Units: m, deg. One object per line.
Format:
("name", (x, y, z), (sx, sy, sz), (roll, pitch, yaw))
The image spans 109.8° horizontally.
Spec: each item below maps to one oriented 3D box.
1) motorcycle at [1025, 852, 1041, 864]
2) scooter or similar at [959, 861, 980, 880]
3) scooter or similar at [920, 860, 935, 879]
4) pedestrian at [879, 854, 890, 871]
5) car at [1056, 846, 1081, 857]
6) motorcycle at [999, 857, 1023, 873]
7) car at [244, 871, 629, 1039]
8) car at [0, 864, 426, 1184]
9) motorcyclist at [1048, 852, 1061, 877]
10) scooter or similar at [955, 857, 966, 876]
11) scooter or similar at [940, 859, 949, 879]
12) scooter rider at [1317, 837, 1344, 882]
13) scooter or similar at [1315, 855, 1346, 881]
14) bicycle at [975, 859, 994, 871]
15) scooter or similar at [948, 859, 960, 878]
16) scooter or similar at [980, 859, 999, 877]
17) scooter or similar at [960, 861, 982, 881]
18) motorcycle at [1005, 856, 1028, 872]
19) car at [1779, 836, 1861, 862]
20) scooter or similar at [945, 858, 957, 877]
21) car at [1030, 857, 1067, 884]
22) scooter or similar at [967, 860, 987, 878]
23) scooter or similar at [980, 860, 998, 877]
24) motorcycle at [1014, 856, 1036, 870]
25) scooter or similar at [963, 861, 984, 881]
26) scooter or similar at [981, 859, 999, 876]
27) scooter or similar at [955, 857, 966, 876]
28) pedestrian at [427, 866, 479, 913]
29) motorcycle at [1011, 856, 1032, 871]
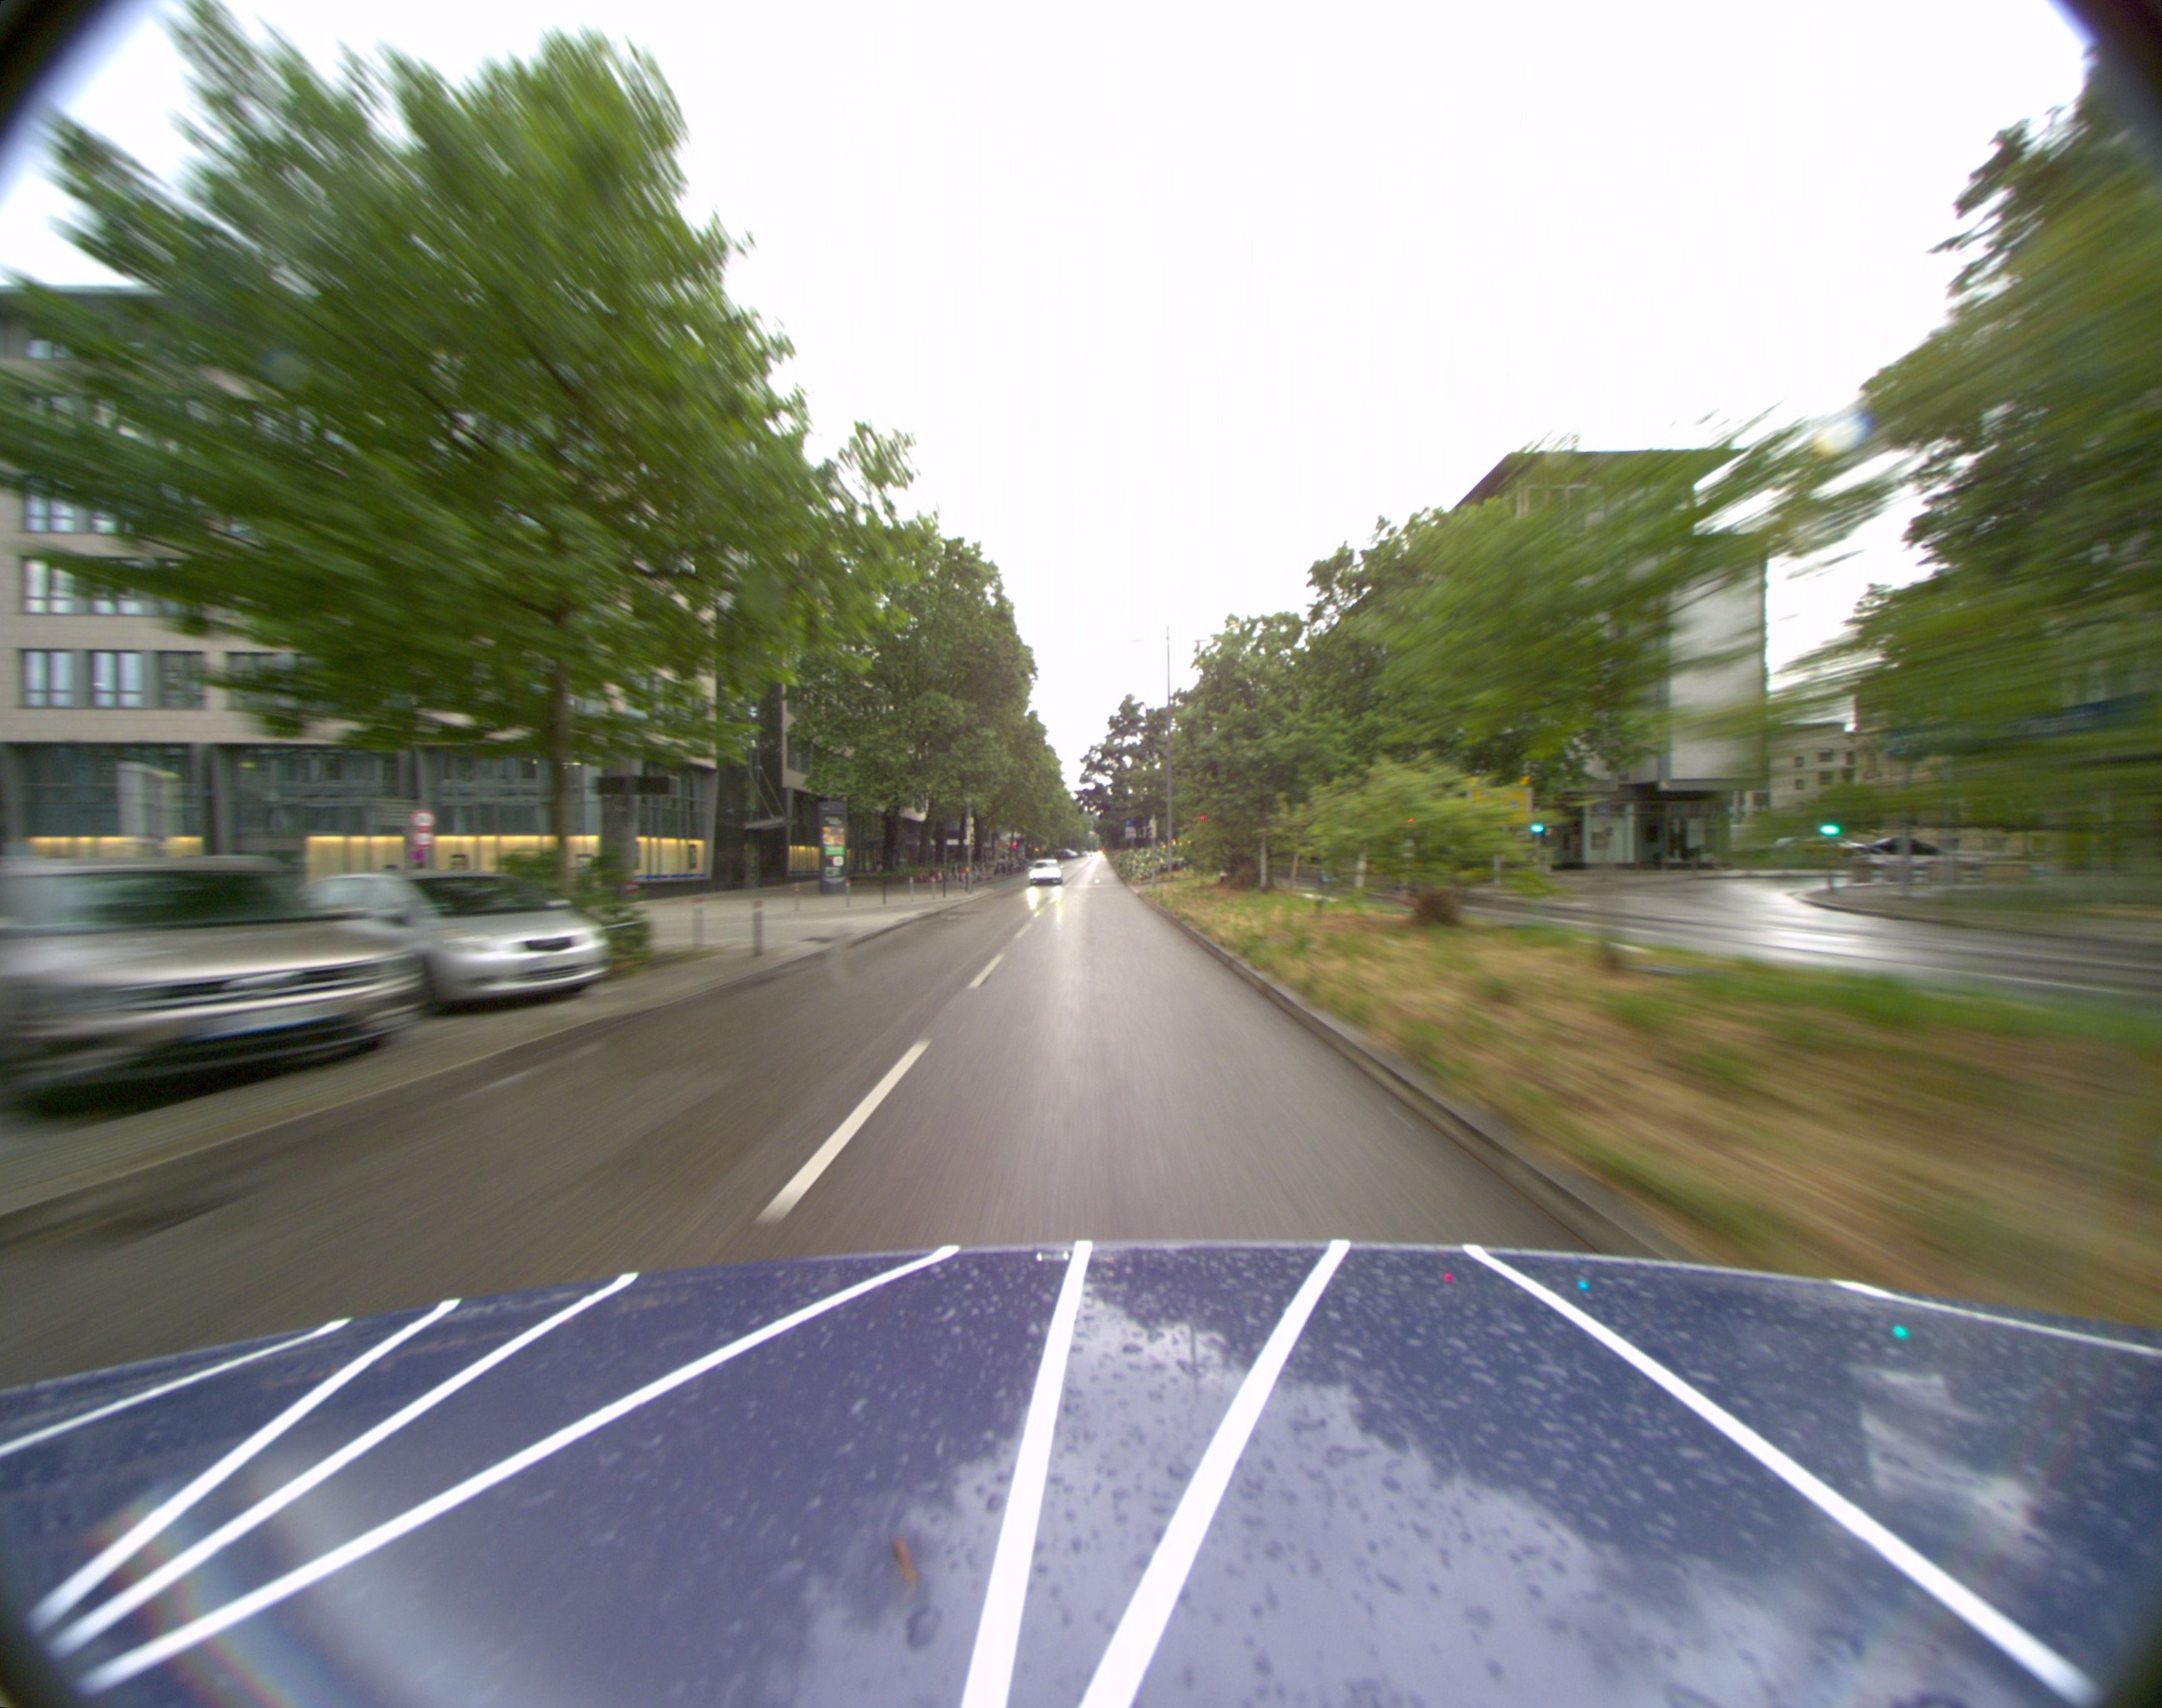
("motorcycle", (-5.874, 0.463, 92.759), (0.682, 1.359, 1.950), (4, 2, 42))
("scooter or similar", (-7.356, 1.099, 50.007), (1.291, 1.252, 0.490), (0, -1, 13))
("scooter or similar", (-9.778, 0.991, 48.353), (0.490, 1.191, 1.290), (-2, 2, -29))
("pedestrian", (-19.288, 0.858, 74.596), (0.727, 1.683, 0.830), (0, 1, 44))
("car", (-3.317, -0.606, 197.595), (6.267, 2.665, 2.326), (-1, 2, 37))
("motorcycle", (-6.060, 0.939, 66.089), (1.963, 1.365, 0.728), (1, -1, -14))
("car", (-7.267, 1.014, 8.617), (3.652, 1.538, 1.717), (-1, 1, 21))
("car", (-7.216, 0.962, 5.825), (4.259, 1.658, 1.821), (-1, 1, 27))
("motorcyclist", (-1.766, 0.705, 50.916), (0.744, 1.575, 1.059), (-2, 2, 2))
("scooter or similar", (-8.229, 0.873, 51.805), (0.489, 1.252, 1.294), (0, -1, 2))
("scooter or similar", (-8.611, 0.959, 48.093), (0.489, 1.191, 1.292), (-1, 1, -8))
("scooter rider", (10.934, 0.222, 33.342), (0.902, 1.929, 0.757), (-1, 1, -2))
("scooter or similar", (10.970, 0.630, 33.410), (1.185, 1.107, 0.435), (-1, 1, -2))
("bicycle", (-8.382, 0.972, 66.043), (0.637, 1.022, 1.766), (-1, 1, 30))
("scooter or similar", (-8.182, 0.929, 48.936), (0.489, 1.252, 1.294), (0, -1, 2))
("scooter or similar", (-6.830, 1.051, 56.560), (1.292, 1.270, 0.537), (0, -1, 6))
("scooter or similar", (-7.089, 1.114, 48.854), (1.291, 1.252, 0.490), (0, -1, 13))
("motorcycle", (-5.891, 0.921, 69.468), (1.964, 1.365, 0.728), (1, -1, -20))
("car", (55.803, -0.358, 57.446), (4.136, 1.827, 1.930), (-1, 0, 9))
("scooter or similar", (-8.644, 0.911, 50.586), (0.489, 1.252, 1.294), (0, -1, 2))
("car", (-1.867, 0.945, 44.908), (1.795, 1.463, 3.794), (-2, 1, 2))
("scooter or similar", (-7.269, 1.023, 52.968), (1.292, 1.228, 0.489), (0, -1, 4))
("scooter or similar", (-6.775, 1.063, 55.873), (1.293, 1.270, 0.536), (1, -1, -9))
("motorcycle", (-5.660, 0.887, 77.188), (2.062, 1.420, 0.728), (1, -1, -20))
("scooter or similar", (-6.995, 1.099, 49.462), (1.291, 1.252, 0.490), (0, -1, 13))
("scooter or similar", (-6.833, 1.042, 57.004), (1.292, 1.270, 0.537), (0, -1, 6))
("scooter or similar", (-8.229, 0.873, 51.805), (0.489, 1.252, 1.294), (0, -1, 2))
("pedestrian", (-25.961, 1.442, 31.409), (1.276, 1.840, 0.920), (-2, 2, -2))
("motorcycle", (-5.707, 0.919, 72.896), (1.964, 1.365, 0.728), (1, -1, -20))
